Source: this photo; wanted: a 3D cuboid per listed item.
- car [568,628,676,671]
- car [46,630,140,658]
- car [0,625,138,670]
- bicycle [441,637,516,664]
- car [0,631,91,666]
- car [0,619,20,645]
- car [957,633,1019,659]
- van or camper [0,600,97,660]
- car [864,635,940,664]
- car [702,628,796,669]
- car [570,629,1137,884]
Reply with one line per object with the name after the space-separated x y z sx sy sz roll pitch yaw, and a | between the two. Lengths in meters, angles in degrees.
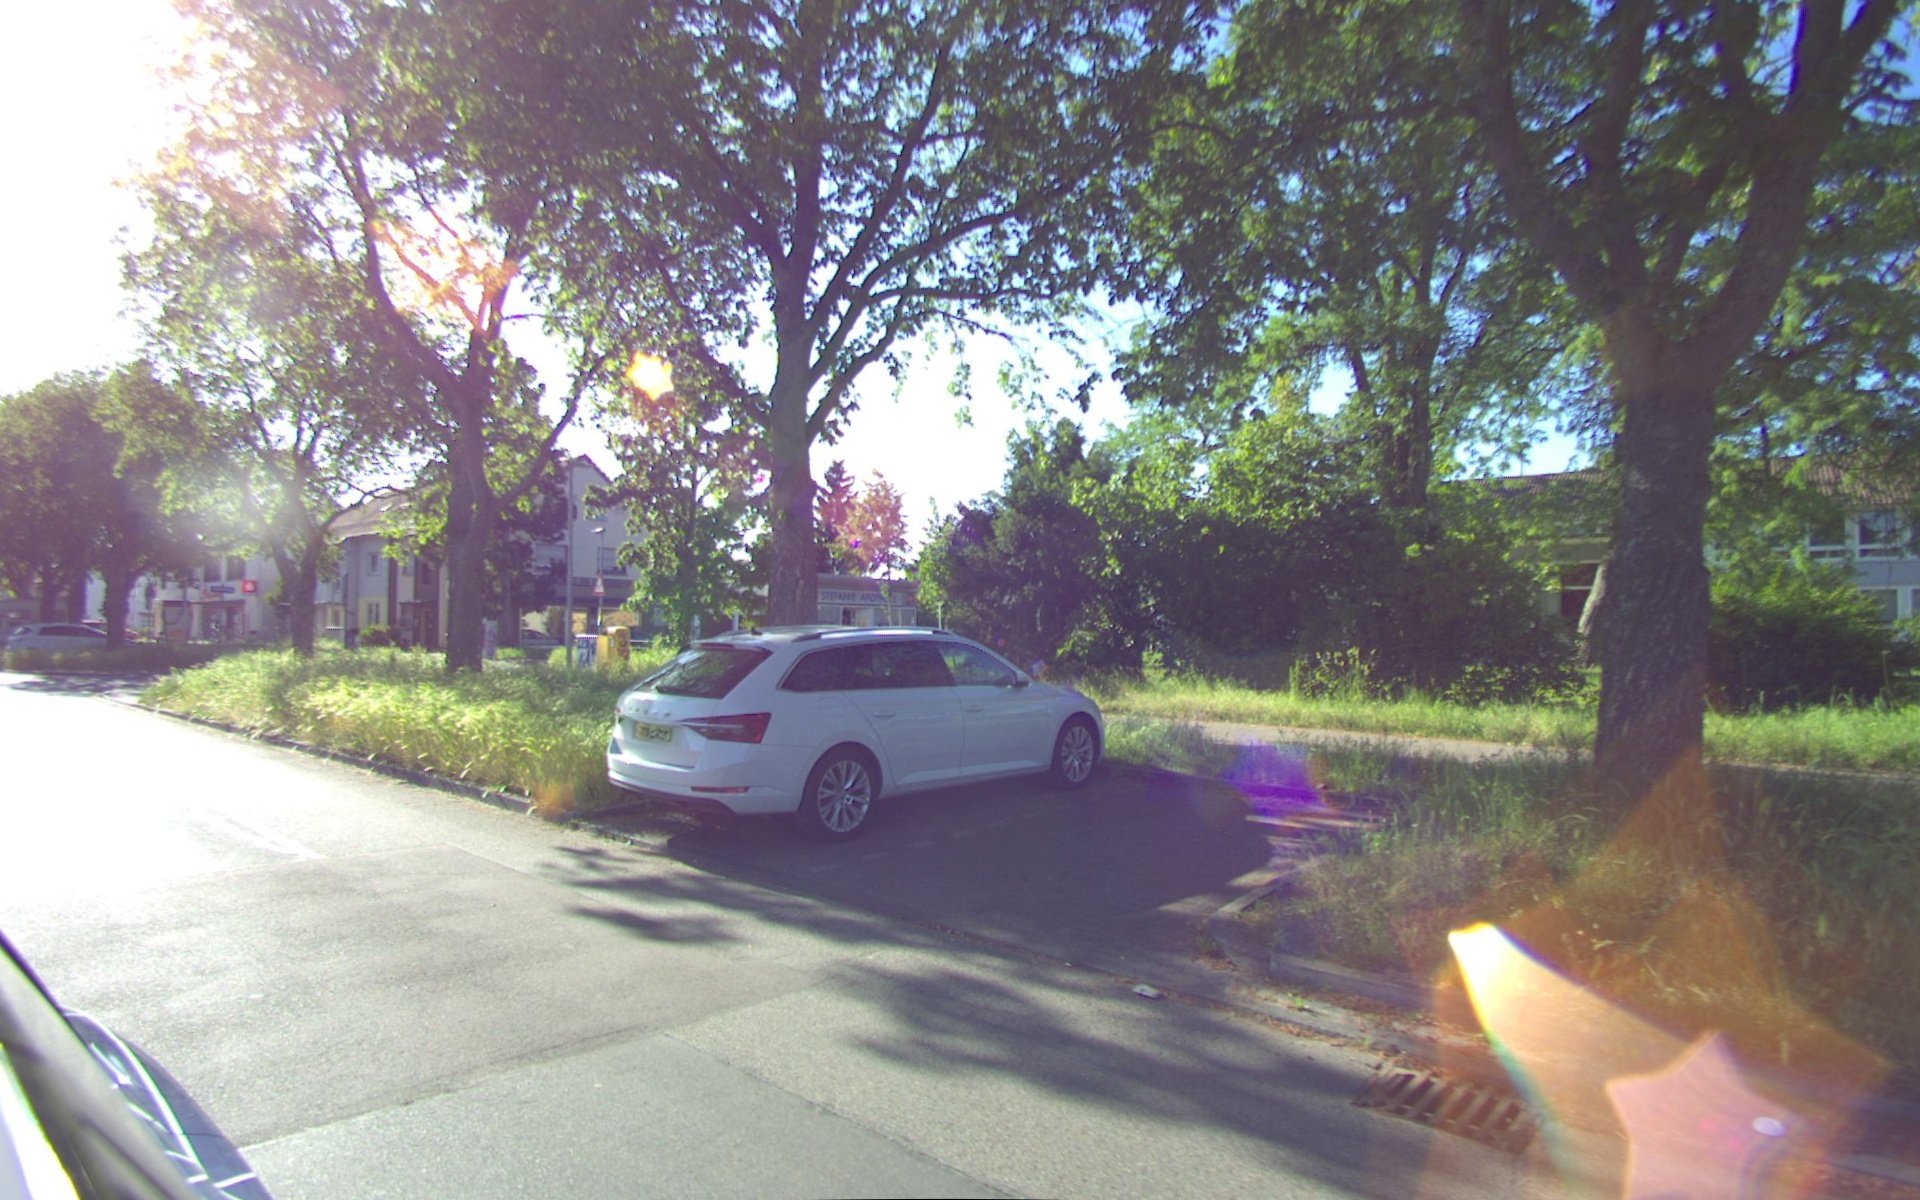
-14.082 2.021 42.306 1.821 1.727 3.945 -2 -2 41 | car
-51.482 2.585 60.164 1.866 1.554 3.952 -1 -1 36 | car
-34.890 1.812 39.595 1.965 1.673 3.946 -2 -2 40 | car
-22.142 2.308 46.520 4.033 1.185 0.700 -1 -3 25 | bicycle
-44.976 2.336 49.099 1.998 1.469 3.948 -1 1 39 | car
-67.003 2.248 68.275 1.997 1.741 5.015 -1 1 37 | car
1.743 2.792 61.819 1.818 1.551 3.818 -2 -3 39 | car
-47.280 1.526 50.850 2.000 2.826 5.713 -1 1 43 | van or camper
-3.162 2.703 55.753 1.999 1.551 3.945 -2 -3 41 | car
-9.880 2.232 47.669 1.999 1.834 3.945 -2 -2 41 | car
-0.610 1.018 8.544 2.000 1.515 4.621 -1 -2 42 | car
